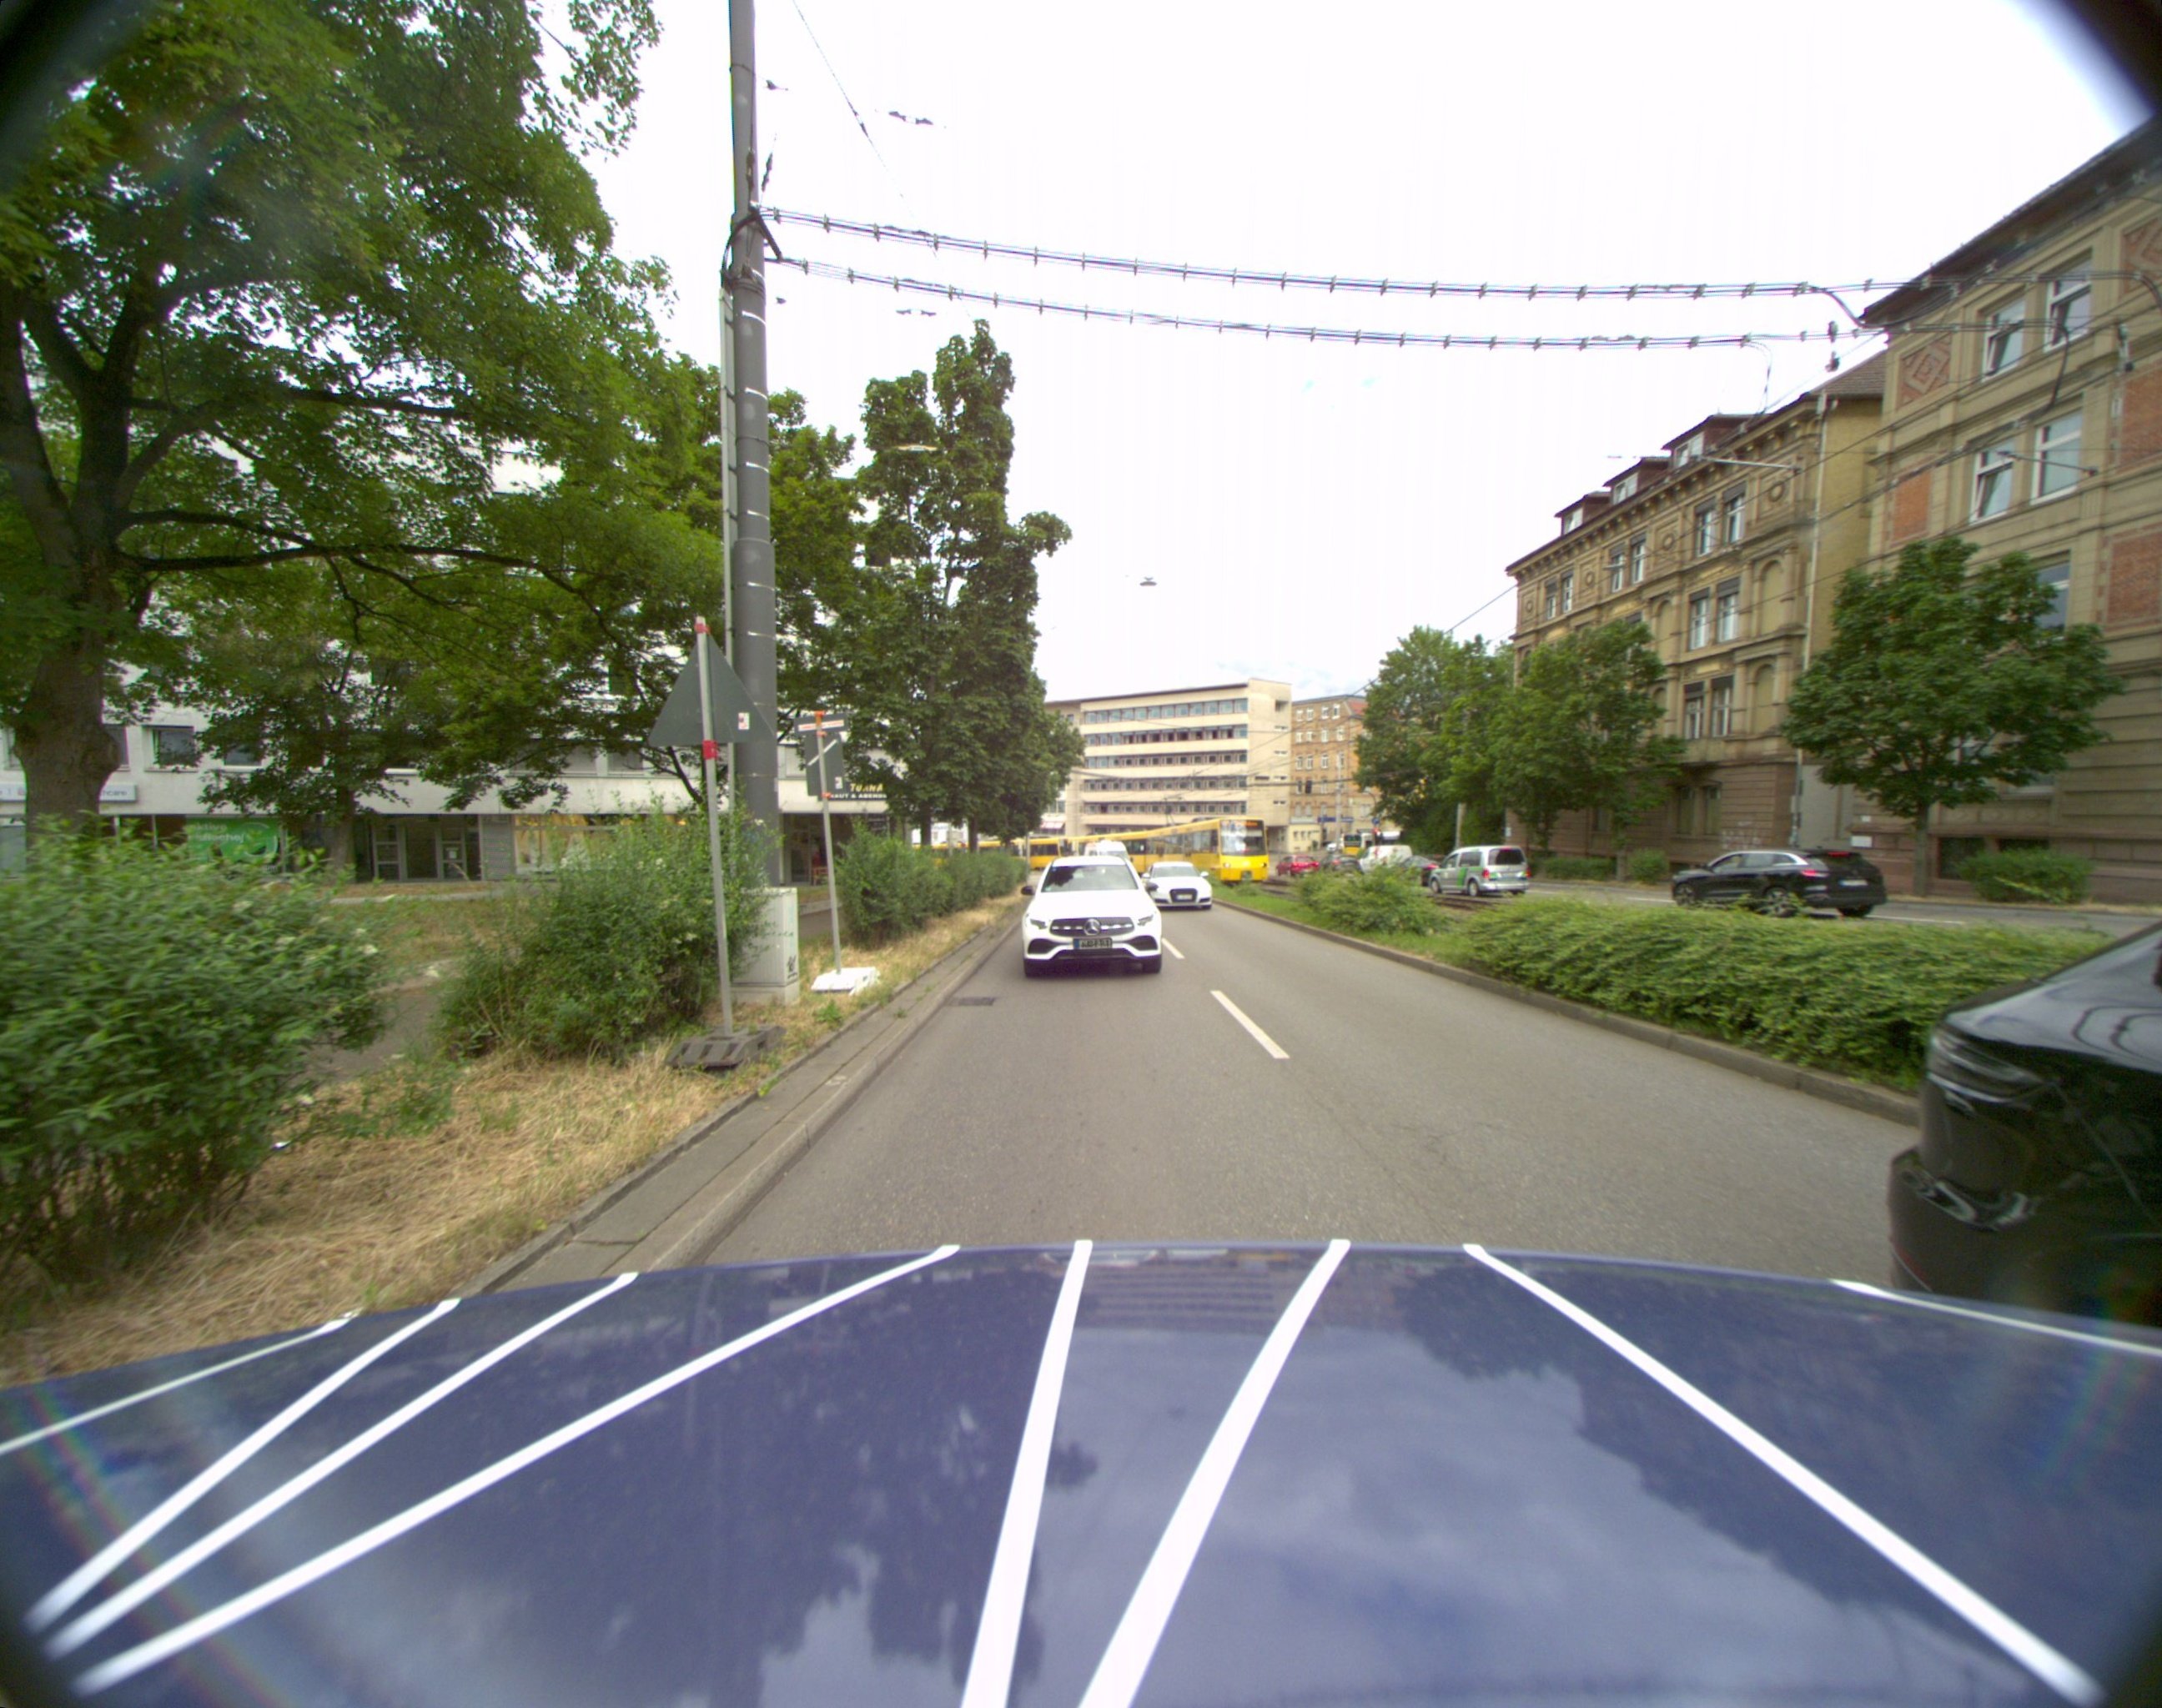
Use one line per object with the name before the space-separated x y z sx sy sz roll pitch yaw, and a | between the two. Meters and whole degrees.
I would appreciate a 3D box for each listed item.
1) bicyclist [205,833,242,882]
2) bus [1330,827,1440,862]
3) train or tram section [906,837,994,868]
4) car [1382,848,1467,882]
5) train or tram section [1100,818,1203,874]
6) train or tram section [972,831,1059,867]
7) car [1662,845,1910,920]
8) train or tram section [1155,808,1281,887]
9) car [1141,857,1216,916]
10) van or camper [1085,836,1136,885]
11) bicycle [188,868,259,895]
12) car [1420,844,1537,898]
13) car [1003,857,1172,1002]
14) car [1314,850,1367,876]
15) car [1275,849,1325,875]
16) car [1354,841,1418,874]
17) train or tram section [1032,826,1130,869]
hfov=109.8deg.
bicyclist | -28.451 0.118 25.228 0.596 1.593 0.513 -1 1 -11
bus | 29.028 -0.956 72.315 11.566 3.012 3.382 -2 1 -31
train or tram section | -16.588 -0.134 95.142 14.189 3.423 2.895 -1 4 44
car | 16.366 0.530 36.490 1.824 1.442 4.946 -2 -1 0
train or tram section | 4.929 -0.638 57.683 2.892 3.643 14.209 -3 1 -15
train or tram section | -7.564 -0.585 84.227 2.936 3.539 14.191 -5 3 -34
car | 16.657 0.620 18.350 1.869 1.545 4.438 -1 0 0
train or tram section | 7.307 -0.433 43.696 2.890 3.643 14.463 -3 1 -7
car | 2.955 0.935 23.878 1.896 1.467 4.530 -3 2 2
van or camper | 1.685 0.304 45.936 2.209 2.544 6.368 -3 2 -4
bicycle | -28.479 0.904 25.242 1.543 0.853 0.519 -1 1 -11
car | 14.387 0.564 27.832 1.884 1.777 4.516 1 0 -1
car | 0.169 0.909 11.388 1.934 1.622 4.774 -3 0 2
car | 16.428 0.549 48.339 1.747 1.419 4.404 -2 2 -1
car | 13.983 0.483 48.825 1.998 1.510 4.405 -1 1 1
car | 19.188 0.172 48.038 1.998 1.839 4.992 -3 1 1
train or tram section | -0.377 -0.582 71.783 2.894 3.643 14.197 -3 2 -28
